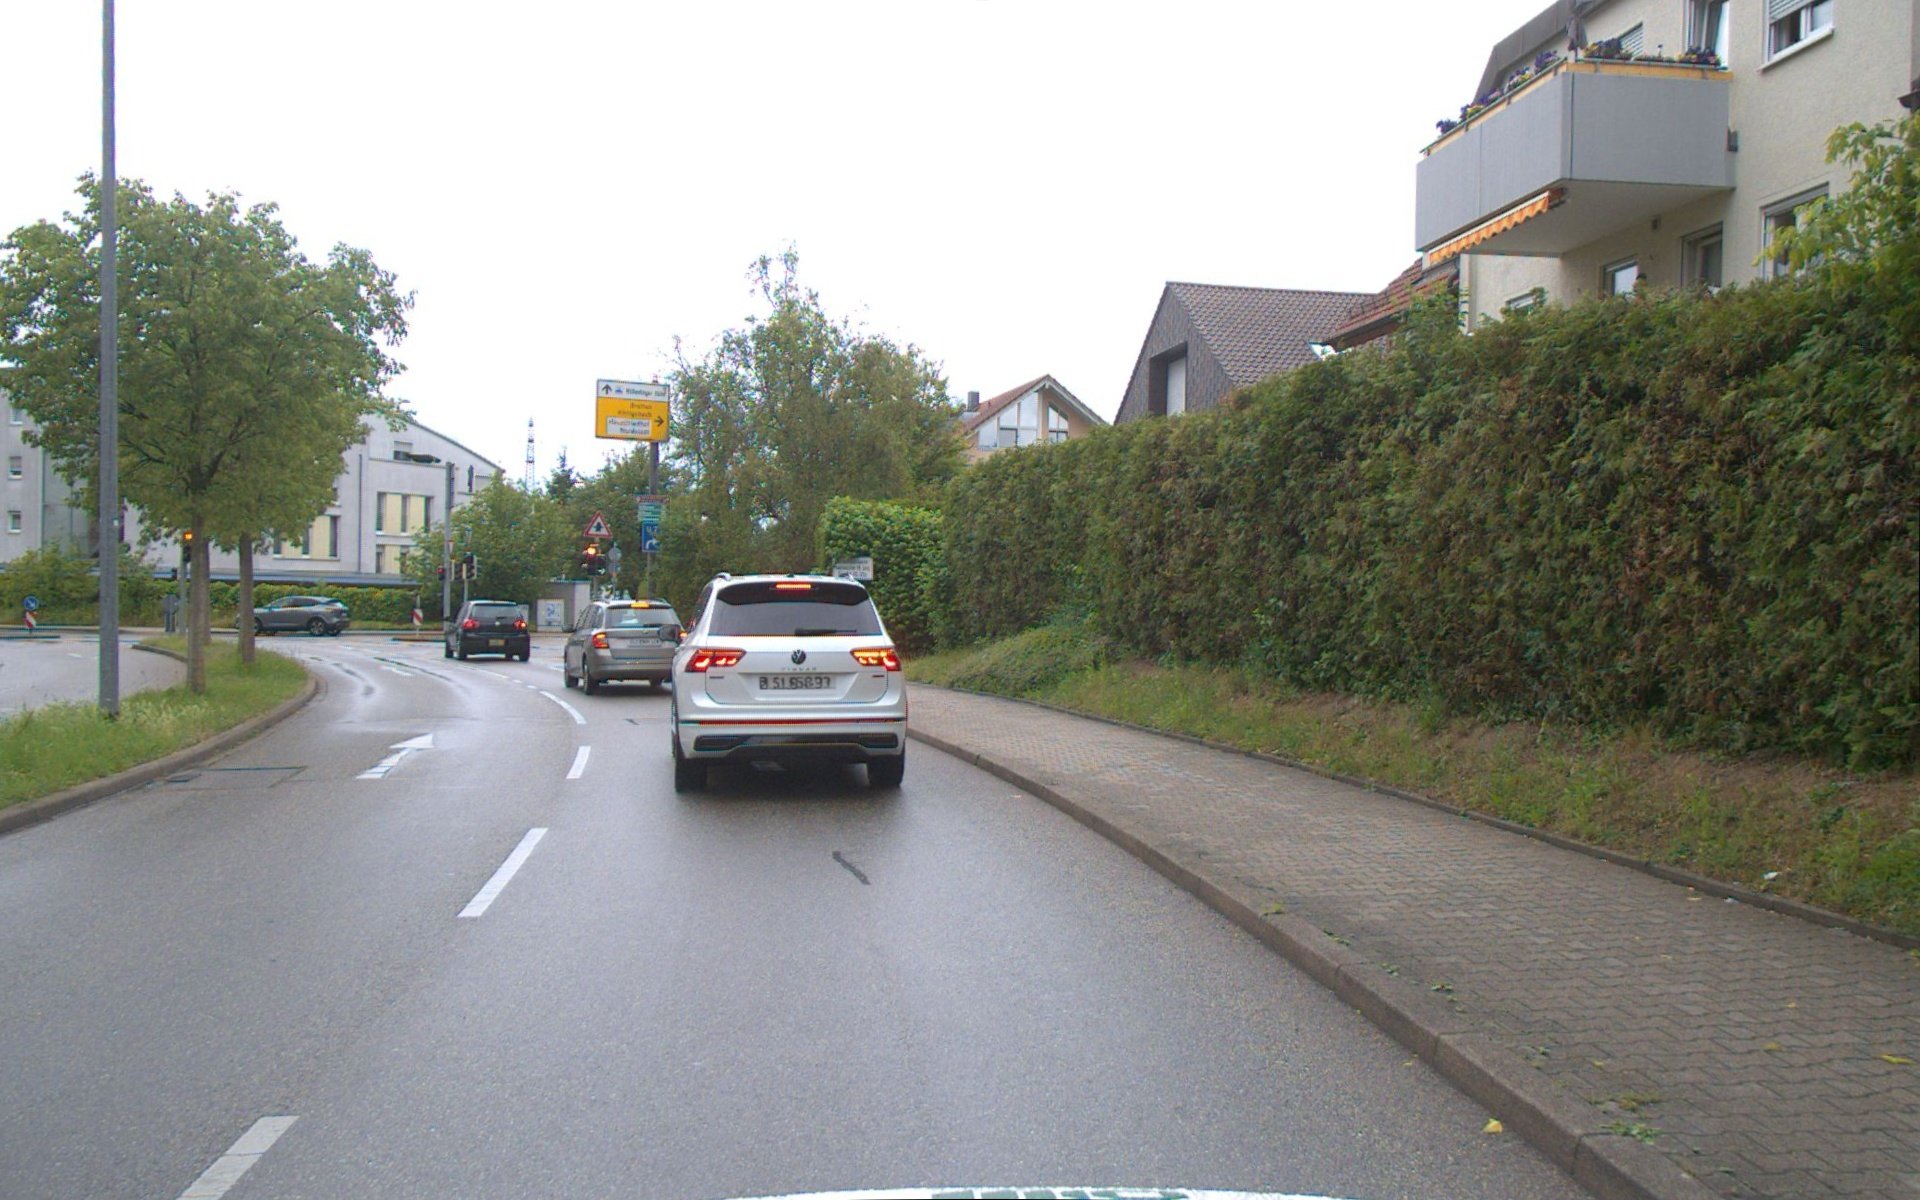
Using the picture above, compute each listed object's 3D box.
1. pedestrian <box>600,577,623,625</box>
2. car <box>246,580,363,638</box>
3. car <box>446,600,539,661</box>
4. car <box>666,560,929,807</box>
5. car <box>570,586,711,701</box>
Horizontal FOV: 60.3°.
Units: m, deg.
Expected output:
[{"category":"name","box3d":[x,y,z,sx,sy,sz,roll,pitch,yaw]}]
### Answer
[{"category":"pedestrian","box3d":[-15.373,0.029,72.958,0.790,2.048,0.841,-2,3,-30]},{"category":"car","box3d":[-26.758,0.345,67.586,3.908,2.048,1.980,4,1,-3]},{"category":"car","box3d":[-11.842,0.753,41.750,1.826,1.454,3.972,0,-1,-23]},{"category":"car","box3d":[-1.510,0.581,14.064,1.885,1.752,4.255,-1,0,-10]},{"category":"car","box3d":[-5.300,0.658,27.083,1.738,1.535,3.981,3,2,-18]}]
